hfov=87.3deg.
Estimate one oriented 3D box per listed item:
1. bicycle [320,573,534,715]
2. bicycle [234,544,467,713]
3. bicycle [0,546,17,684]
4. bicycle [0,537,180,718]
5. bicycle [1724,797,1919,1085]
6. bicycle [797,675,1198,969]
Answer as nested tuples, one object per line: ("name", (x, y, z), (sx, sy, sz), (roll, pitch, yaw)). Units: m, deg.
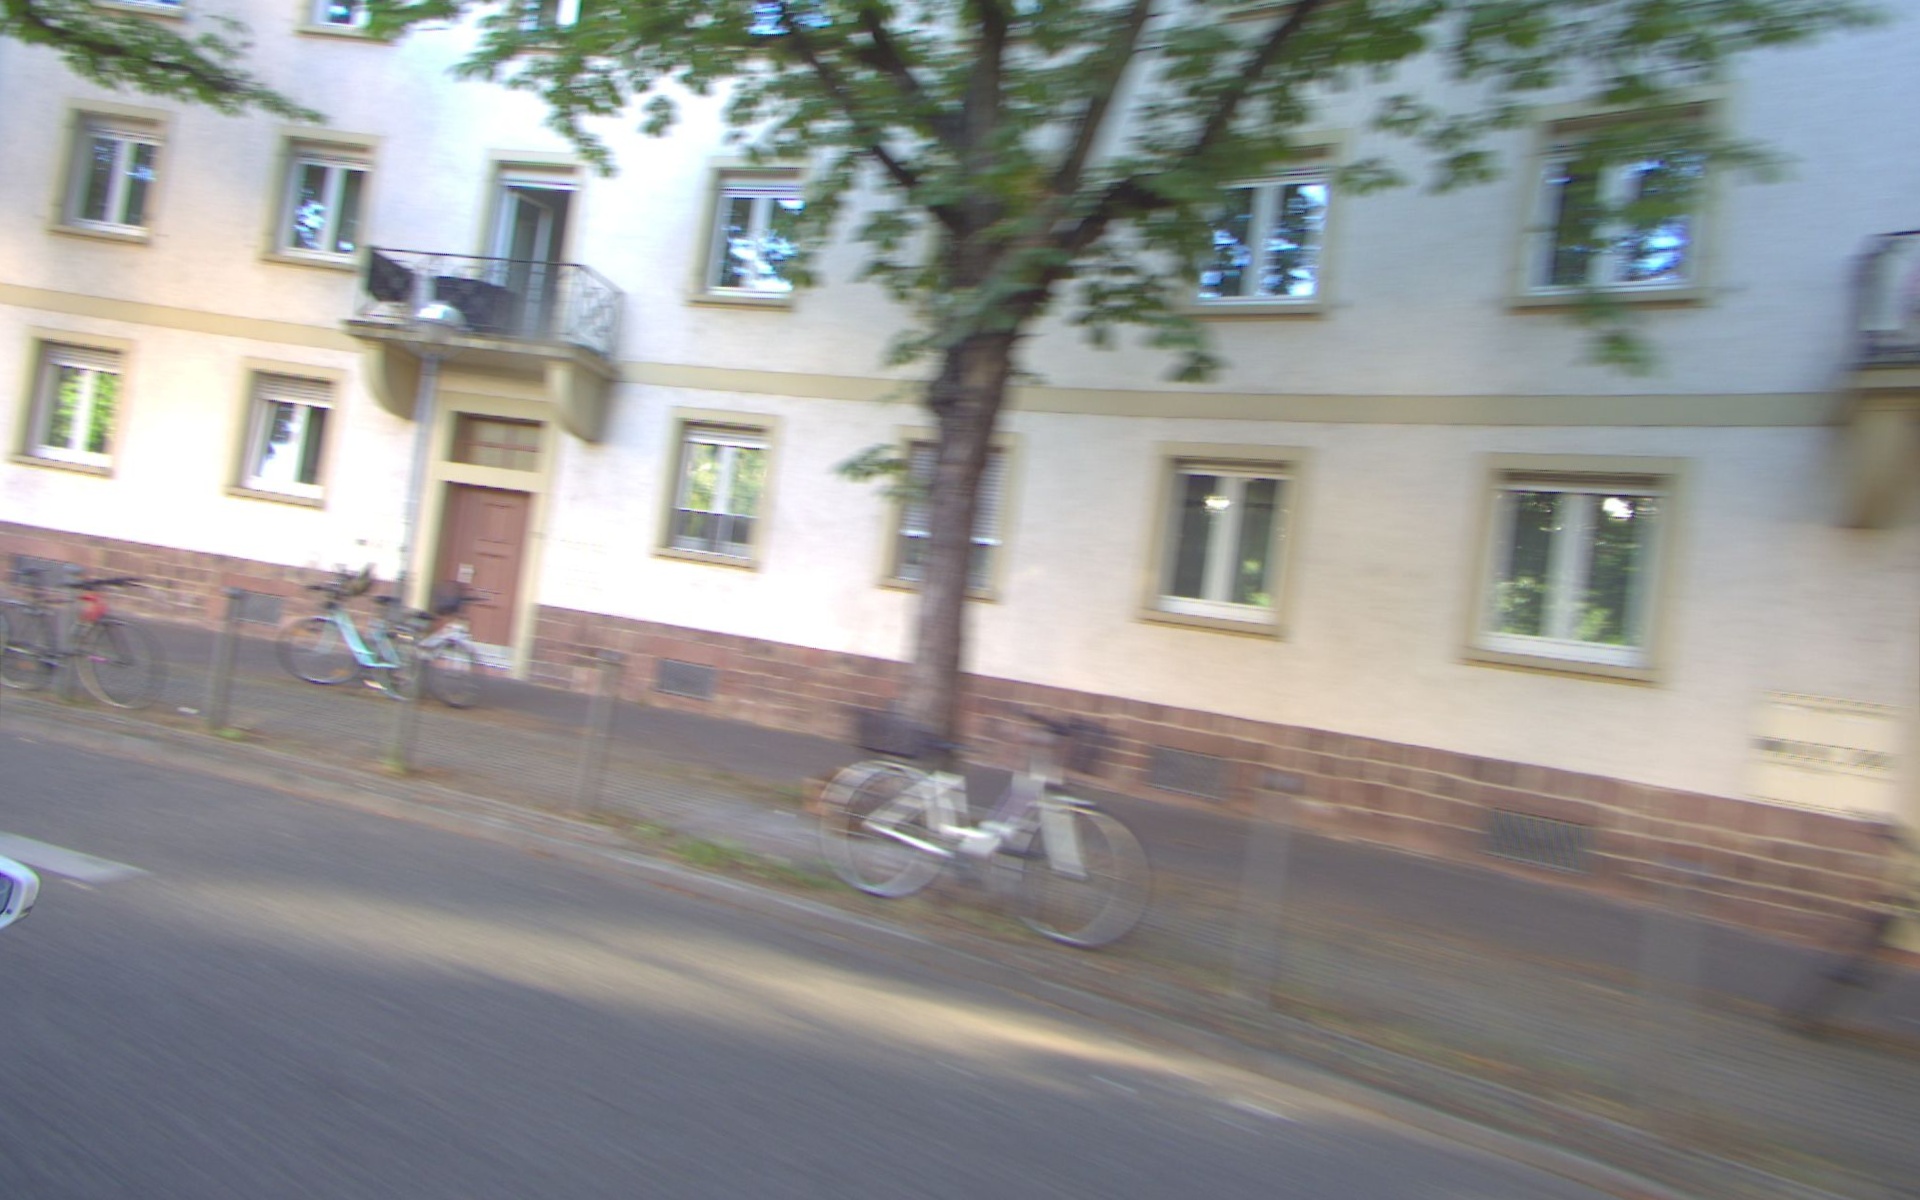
("bicycle", (-5.319, 0.429, 10.031), (1.930, 1.119, 0.670), (7, -2, 22))
("bicycle", (-5.750, 0.257, 9.482), (1.930, 1.292, 0.719), (8, 0, 21))
("bicycle", (-8.402, 0.012, 8.055), (1.605, 1.077, 0.482), (8, 1, 19))
("bicycle", (-6.843, 0.174, 7.607), (1.708, 1.121, 0.527), (8, 1, 17))
("bicycle", (4.920, 1.699, 4.746), (1.823, 1.131, 0.804), (8, -2, 17))
("bicycle", (0.176, 1.084, 5.301), (1.937, 1.109, 0.514), (7, 0, 21))
